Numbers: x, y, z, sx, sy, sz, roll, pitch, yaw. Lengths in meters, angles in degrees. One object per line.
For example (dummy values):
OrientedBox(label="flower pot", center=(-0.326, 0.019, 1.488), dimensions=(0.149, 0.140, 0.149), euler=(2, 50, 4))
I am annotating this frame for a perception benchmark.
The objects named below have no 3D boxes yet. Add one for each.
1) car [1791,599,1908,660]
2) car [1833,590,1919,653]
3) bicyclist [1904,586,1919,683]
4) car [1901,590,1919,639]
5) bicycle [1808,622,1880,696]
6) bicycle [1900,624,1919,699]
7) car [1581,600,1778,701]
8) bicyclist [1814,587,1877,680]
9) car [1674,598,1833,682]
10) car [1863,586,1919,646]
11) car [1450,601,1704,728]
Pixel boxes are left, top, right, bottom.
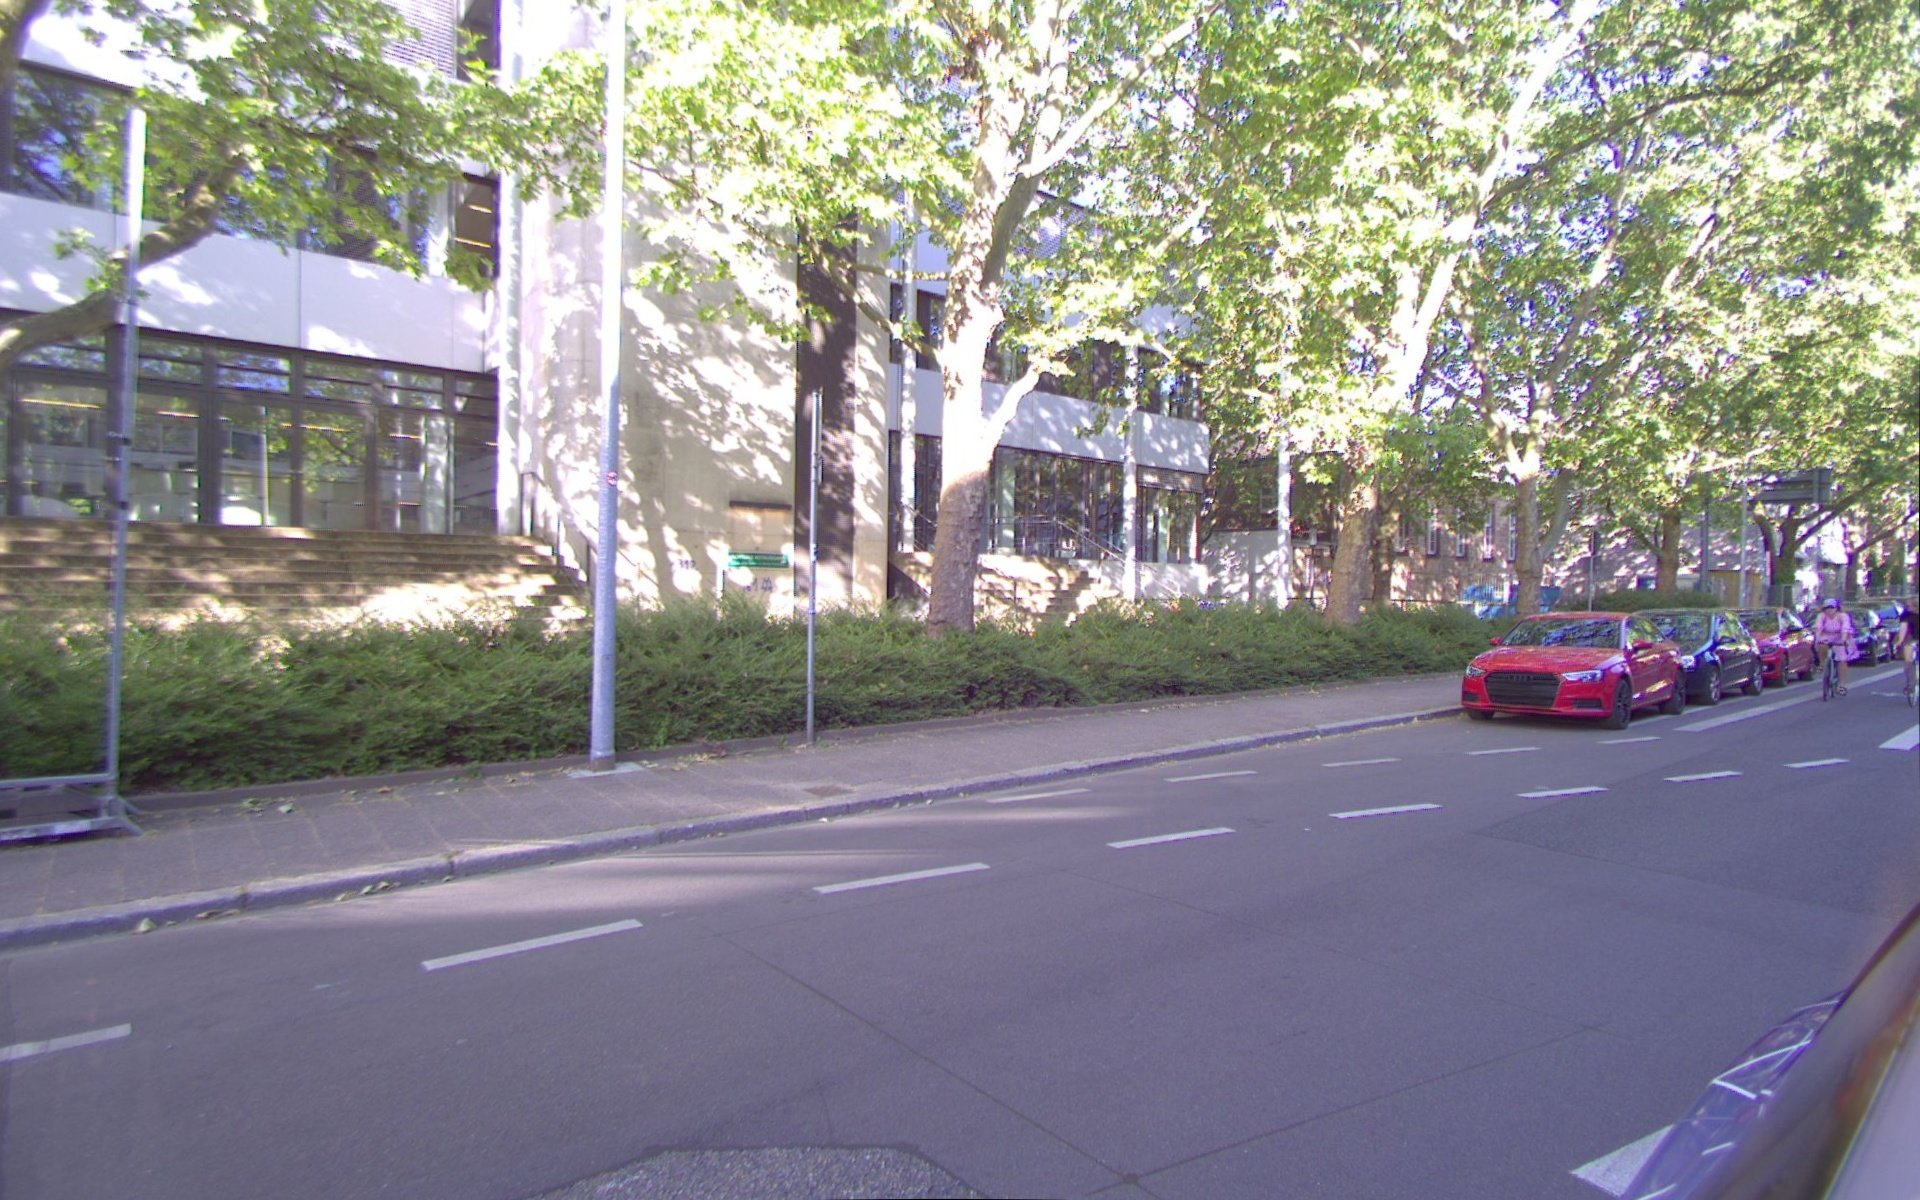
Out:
OrientedBox(label="car", center=(22.948, 0.719, 26.066), dimensions=(3.841, 1.451, 1.753), euler=(0, -1, -41))
OrientedBox(label="car", center=(26.714, 0.588, 29.178), dimensions=(4.101, 1.674, 1.753), euler=(0, -1, -41))
OrientedBox(label="bicyclist", center=(14.765, 0.522, 15.347), dimensions=(0.728, 1.451, 0.580), euler=(0, 0, -41))
OrientedBox(label="car", center=(36.195, 0.519, 37.265), dimensions=(4.370, 1.750, 1.753), euler=(0, -1, -41))
OrientedBox(label="bicycle", center=(14.145, 0.917, 16.183), dimensions=(1.567, 1.073, 0.650), euler=(0, 0, -41))
OrientedBox(label="bicycle", center=(14.783, 0.921, 15.370), dimensions=(1.567, 1.073, 0.573), euler=(0, 0, -41))
OrientedBox(label="car", center=(11.851, 0.742, 16.591), dimensions=(3.841, 1.451, 1.753), euler=(0, -1, -41))
OrientedBox(label="bicyclist", center=(14.176, 0.516, 16.199), dimensions=(0.728, 1.453, 0.650), euler=(0, 0, -41))
OrientedBox(label="car", center=(15.702, 0.724, 19.967), dimensions=(3.841, 1.486, 1.753), euler=(0, -1, -41))
OrientedBox(label="car", center=(30.972, 0.489, 32.969), dimensions=(4.370, 1.844, 1.753), euler=(0, -1, -41))
OrientedBox(label="car", center=(8.275, 0.744, 13.446), dimensions=(3.930, 1.427, 1.753), euler=(0, -1, -41))
